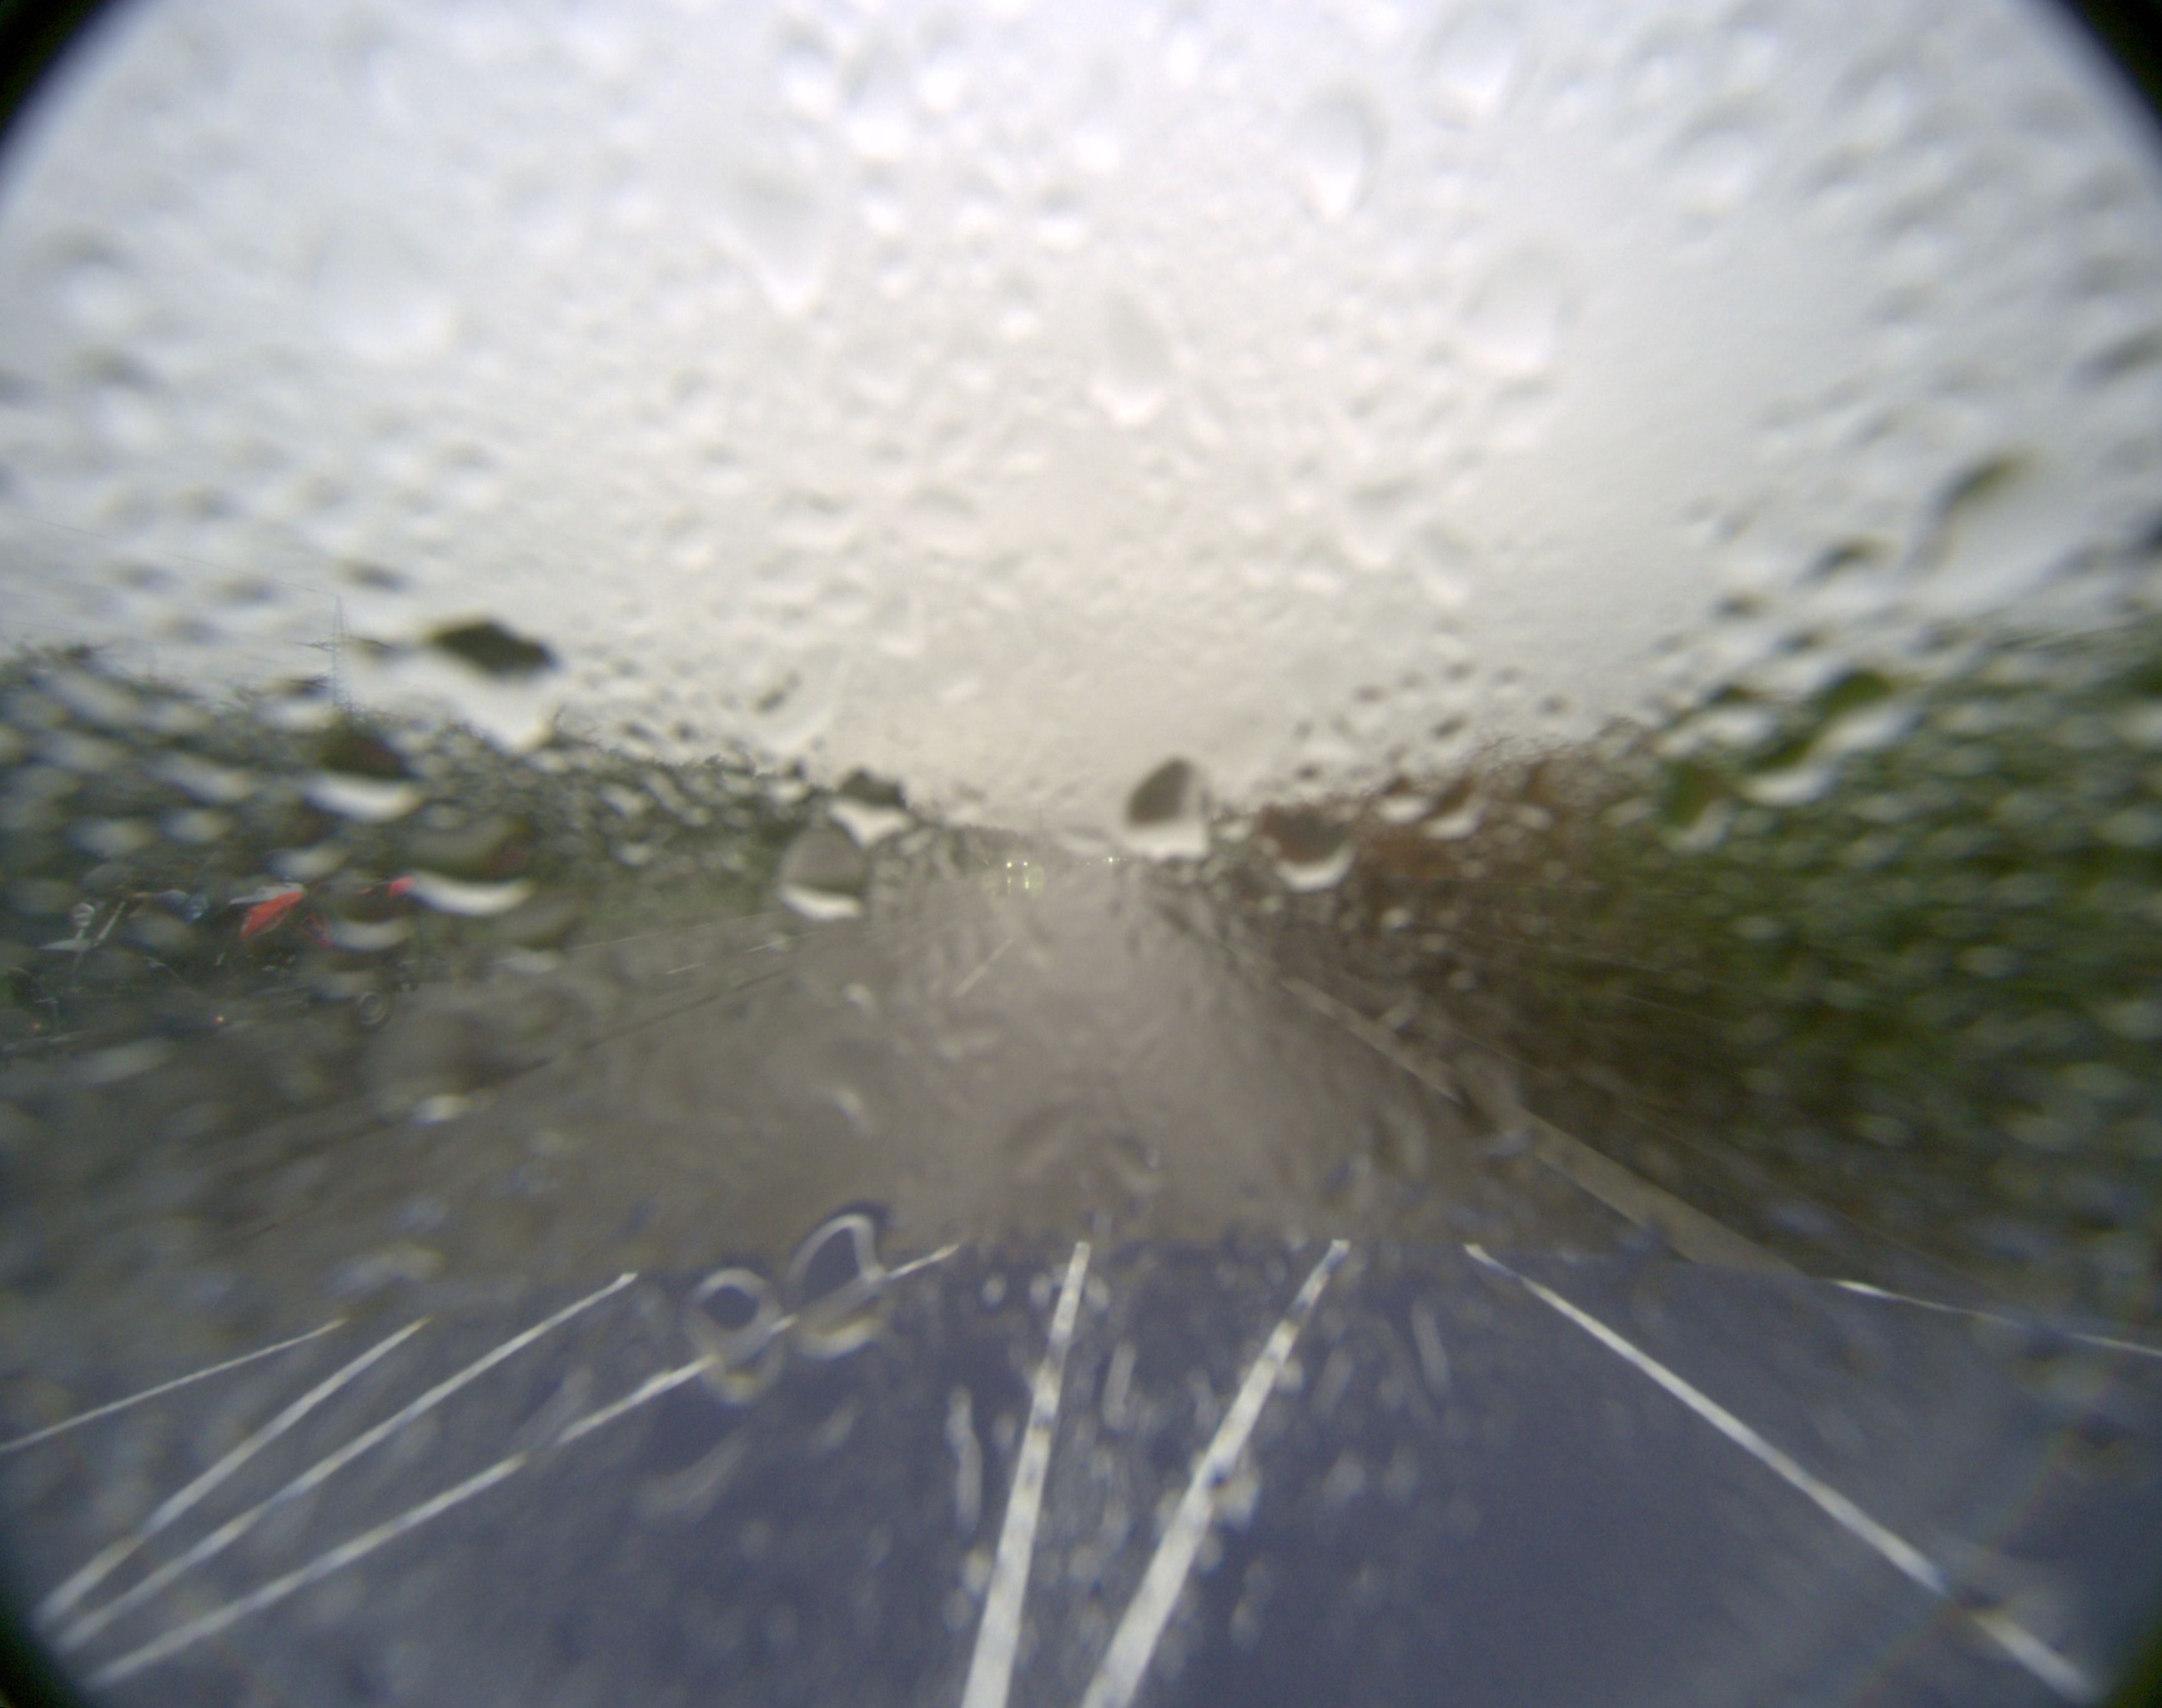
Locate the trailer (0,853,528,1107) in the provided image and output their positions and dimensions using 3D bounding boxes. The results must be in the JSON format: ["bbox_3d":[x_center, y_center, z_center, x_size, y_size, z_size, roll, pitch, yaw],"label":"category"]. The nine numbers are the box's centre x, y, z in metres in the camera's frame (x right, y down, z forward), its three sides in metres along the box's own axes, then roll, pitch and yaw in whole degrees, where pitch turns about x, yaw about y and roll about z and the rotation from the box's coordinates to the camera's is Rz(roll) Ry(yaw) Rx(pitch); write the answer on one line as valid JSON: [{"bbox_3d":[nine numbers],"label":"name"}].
[{"bbox_3d":[-7.410,0.928,7.097,1.983,1.774,3.189,-2,1,3],"label":"trailer"}]

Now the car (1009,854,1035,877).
[{"bbox_3d":[-5.623,1.082,72.957,1.998,2.002,4.000,-2,0,1],"label":"car"}]

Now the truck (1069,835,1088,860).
[{"bbox_3d":[-0.465,-1.248,153.230,3.135,4.641,11.406,-2,0,3],"label":"truck"}]

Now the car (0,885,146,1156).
[{"bbox_3d":[-7.670,1.078,2.824,1.998,1.610,4.993,-2,1,4],"label":"car"}]

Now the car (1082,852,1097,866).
[{"bbox_3d":[1.202,0.703,111.133,1.998,2.002,4.001,-2,0,2],"label":"car"}]
